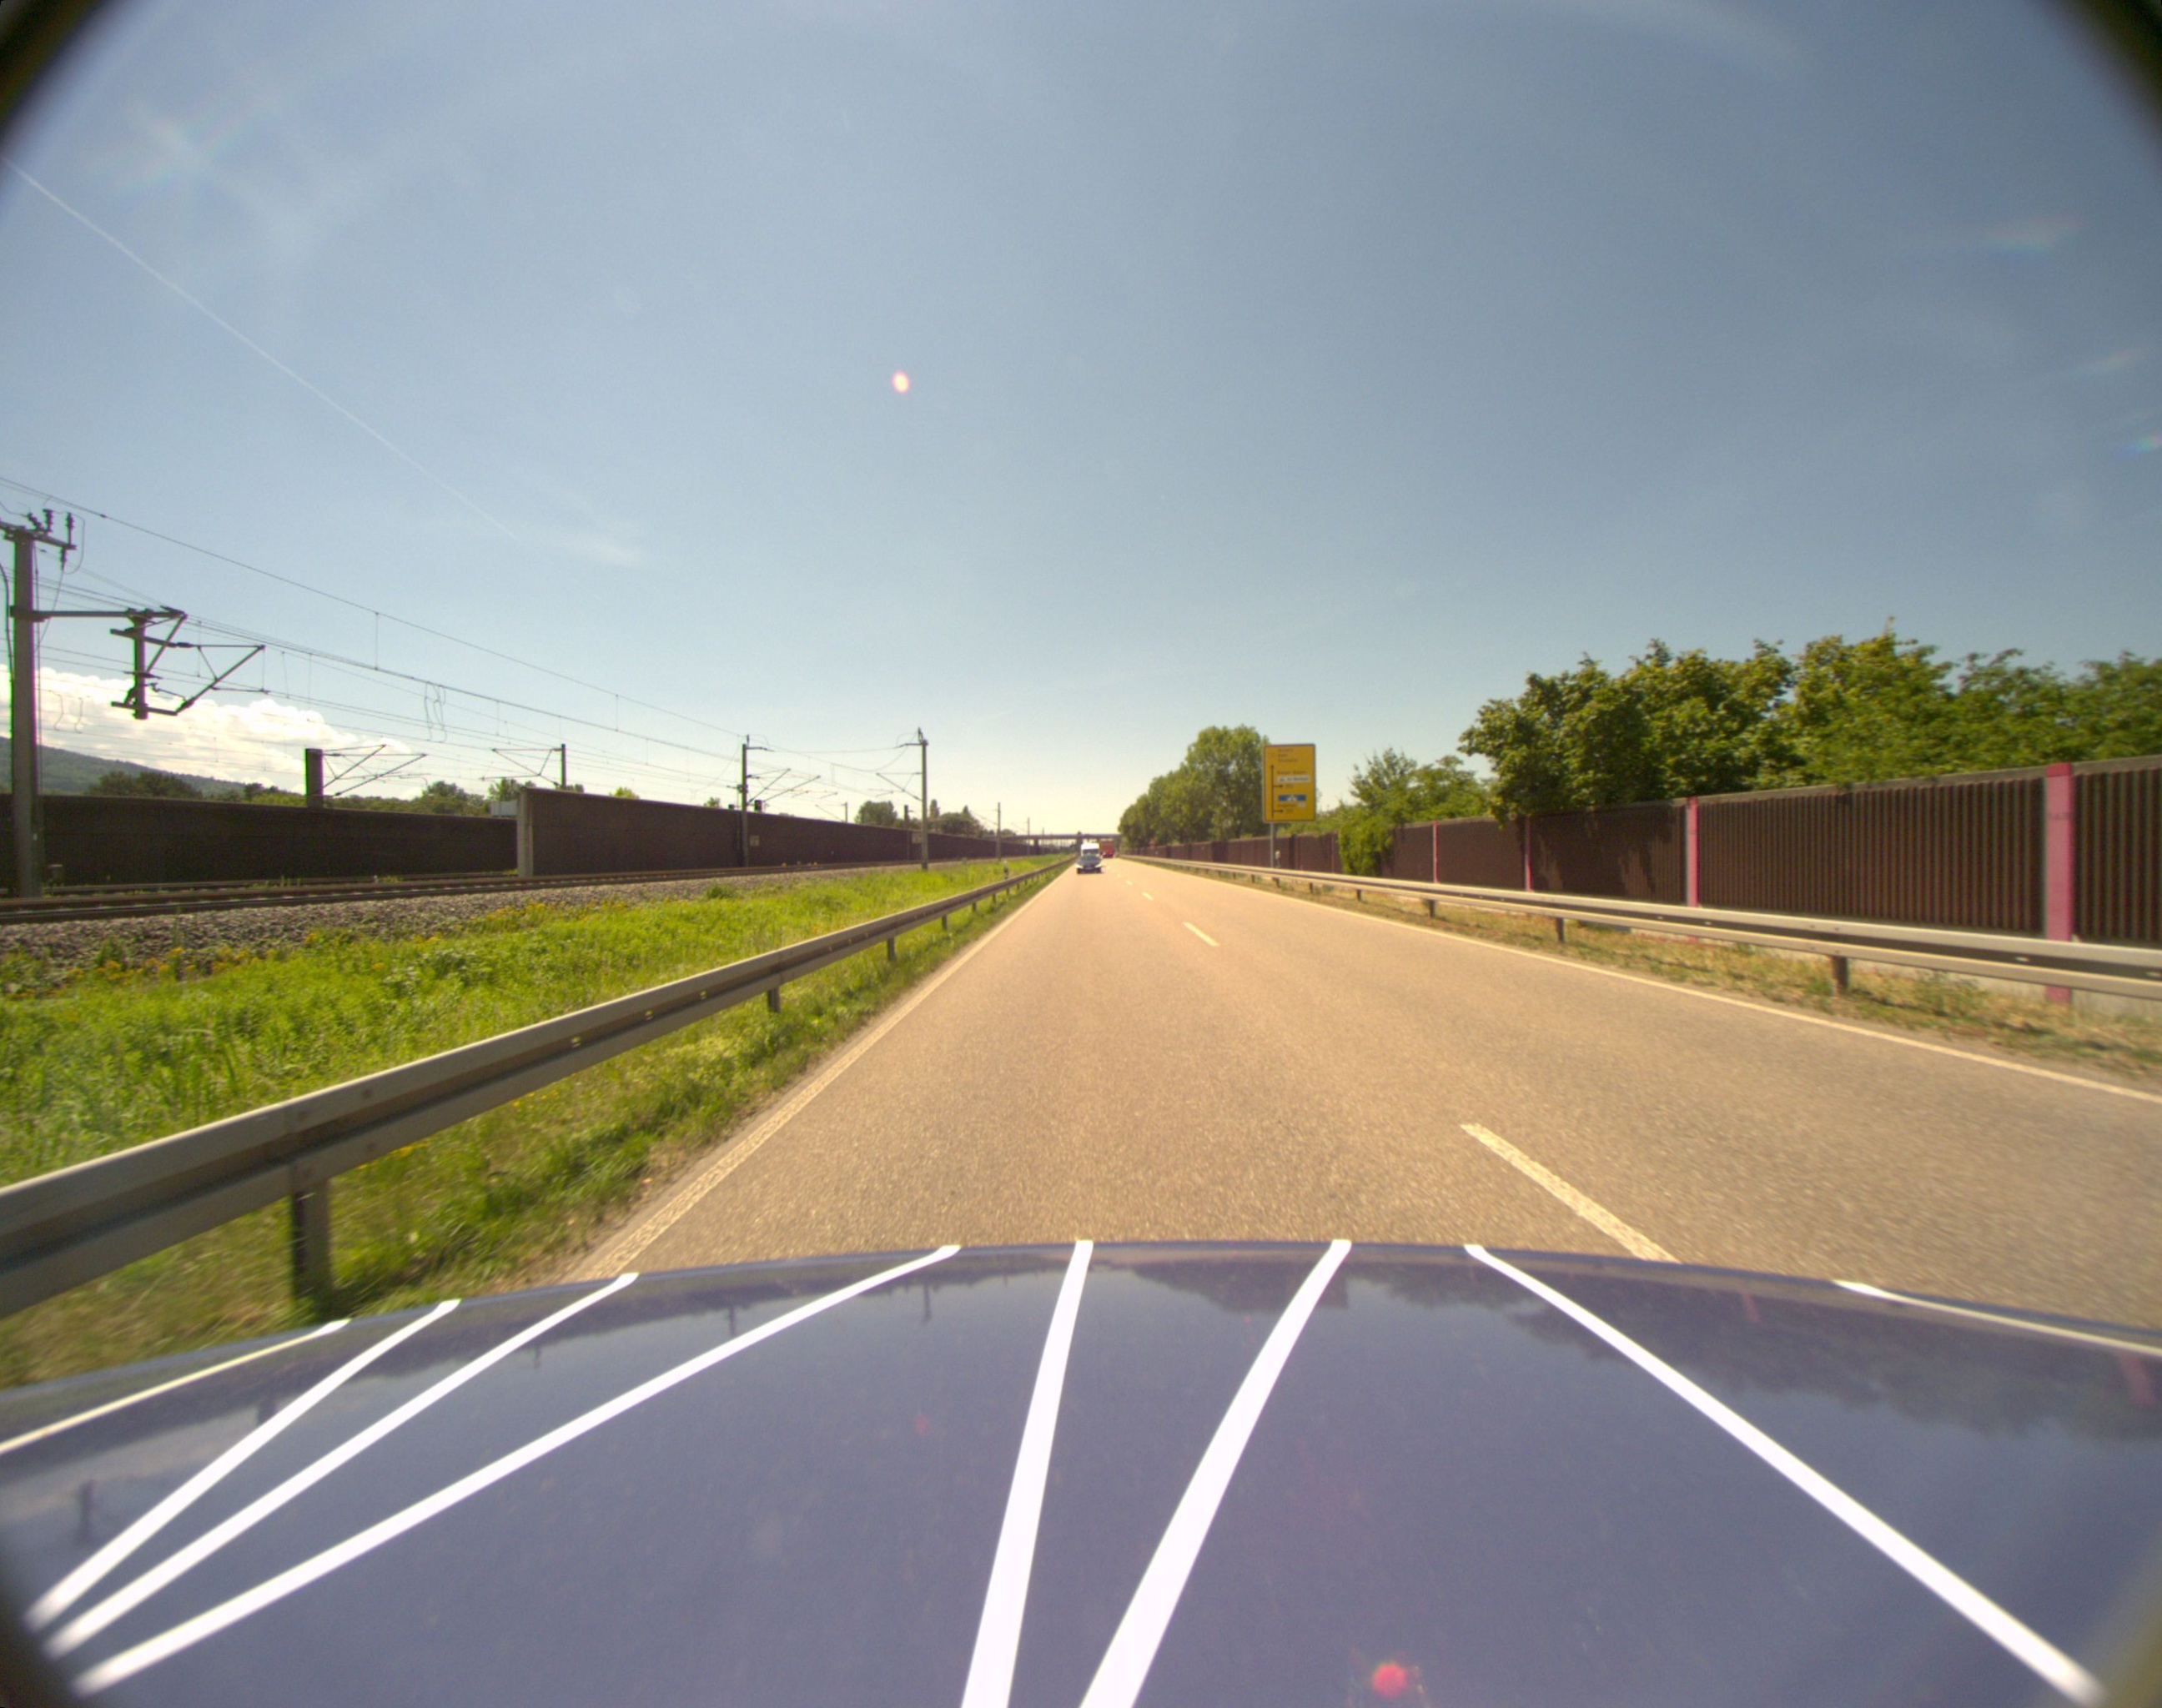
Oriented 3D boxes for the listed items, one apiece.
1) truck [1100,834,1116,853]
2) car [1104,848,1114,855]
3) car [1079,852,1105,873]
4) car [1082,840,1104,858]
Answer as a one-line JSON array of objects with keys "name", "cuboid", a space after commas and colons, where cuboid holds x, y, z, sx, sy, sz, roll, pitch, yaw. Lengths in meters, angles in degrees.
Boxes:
[{"name": "truck", "cuboid": [5.940, -2.278, 167.164, 3.132, 3.942, 9.717, -3, 1, 1]}, {"name": "car", "cuboid": [5.711, -0.523, 155.641, 1.994, 1.486, 4.492, -3, 1, 1]}, {"name": "car", "cuboid": [0.803, 0.592, 55.478, 1.758, 1.313, 4.000, -3, 1, 1]}, {"name": "car", "cuboid": [1.246, -0.555, 80.194, 2.161, 1.702, 4.492, -3, 1, 1]}]
